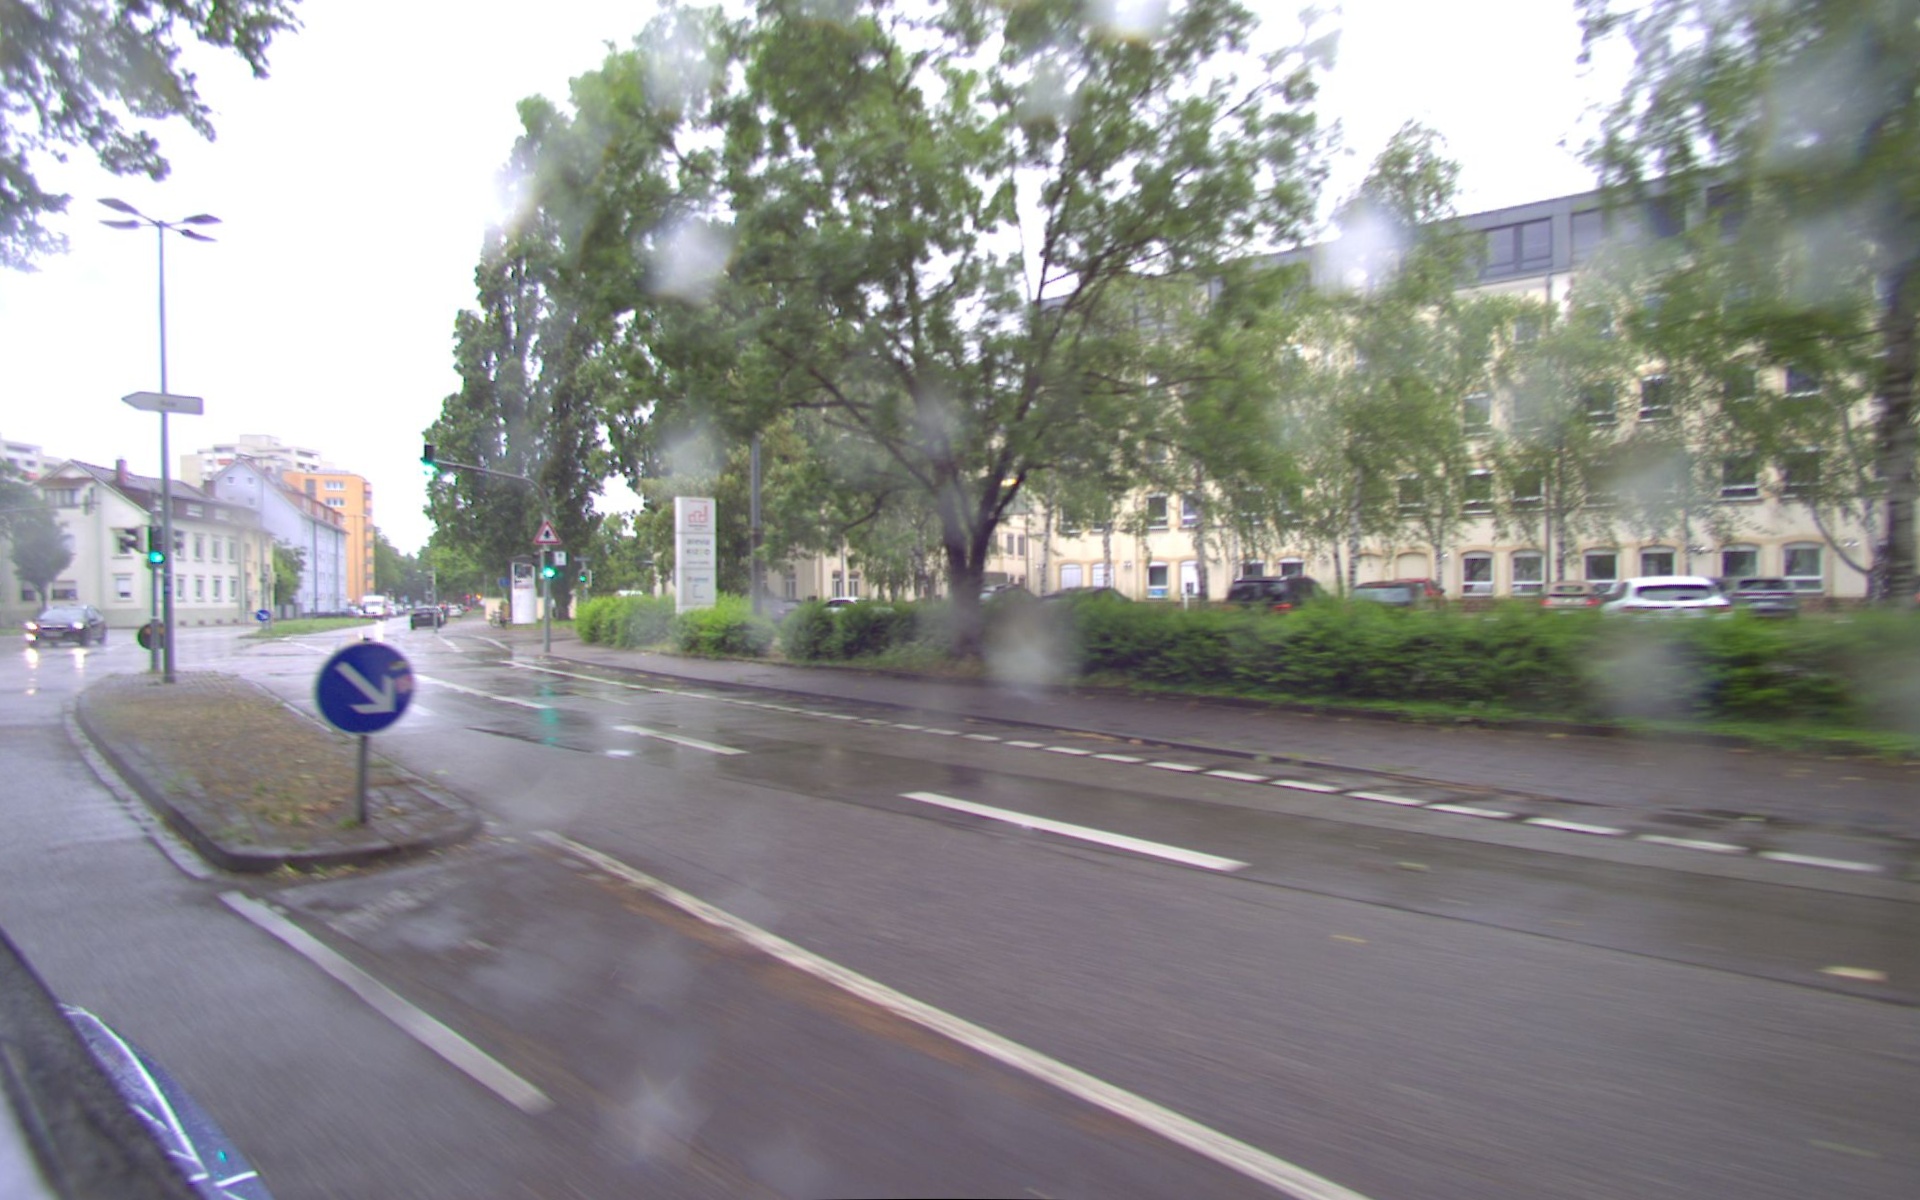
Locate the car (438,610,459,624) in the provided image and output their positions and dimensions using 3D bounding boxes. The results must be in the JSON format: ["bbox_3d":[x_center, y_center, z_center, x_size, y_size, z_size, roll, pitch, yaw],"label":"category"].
[{"bbox_3d":[-57.716,1.880,114.151,1.965,1.431,4.013,-2,0,-25],"label":"car"}]

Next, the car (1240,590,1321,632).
[{"bbox_3d":[12.519,0.429,39.387,1.995,1.530,3.954,-1,-1,34],"label":"car"}]

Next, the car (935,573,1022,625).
[{"bbox_3d":[1.281,-0.107,67.047,2.831,3.218,6.145,-1,0,34],"label":"car"}]

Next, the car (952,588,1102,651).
[{"bbox_3d":[1.912,0.500,28.026,3.939,1.549,1.927,-2,0,-42],"label":"car"}]

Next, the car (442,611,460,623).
[{"bbox_3d":[-67.871,2.278,135.015,1.965,1.431,4.013,-2,0,-25],"label":"car"}]

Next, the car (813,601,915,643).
[{"bbox_3d":[-4.059,0.941,42.647,4.009,1.699,1.764,-1,-1,30],"label":"car"}]

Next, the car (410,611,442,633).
[{"bbox_3d":[-40.819,1.681,77.418,1.965,1.579,4.013,-2,0,-25],"label":"car"}]

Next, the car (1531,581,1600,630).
[{"bbox_3d":[20.672,0.190,34.484,1.777,1.564,3.953,-1,0,35],"label":"car"}]

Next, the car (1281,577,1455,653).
[{"bbox_3d":[8.331,0.257,20.502,3.939,1.348,1.718,-2,0,-42],"label":"car"}]

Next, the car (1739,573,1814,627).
[{"bbox_3d":[25.103,0.002,31.208,1.648,1.565,3.950,-1,0,37],"label":"car"}]

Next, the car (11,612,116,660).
[{"bbox_3d":[-33.966,1.311,38.462,1.801,1.641,4.013,-2,0,-23],"label":"car"}]

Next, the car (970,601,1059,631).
[{"bbox_3d":[2.965,0.875,55.368,4.522,1.511,1.976,-1,0,36],"label":"car"}]

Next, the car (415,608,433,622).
[{"bbox_3d":[-65.293,1.793,123.347,1.780,1.522,4.208,-3,1,-26],"label":"car"}]

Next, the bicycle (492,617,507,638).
[{"bbox_3d":[-25.448,1.502,55.969,0.548,1.085,1.801,-2,0,-30],"label":"bicycle"}]

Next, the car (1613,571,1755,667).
[{"bbox_3d":[13.950,0.312,19.728,1.994,1.651,3.956,-1,0,33],"label":"car"}]

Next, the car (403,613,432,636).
[{"bbox_3d":[-36.015,1.620,67.263,1.523,1.408,4.208,-3,1,-26],"label":"car"}]

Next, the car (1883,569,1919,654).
[{"bbox_3d":[20.834,0.178,21.251,1.706,1.674,3.951,-1,0,36],"label":"car"}]

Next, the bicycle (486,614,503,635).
[{"bbox_3d":[-27.044,1.396,58.798,0.687,1.195,1.629,-2,0,-30],"label":"bicycle"}]

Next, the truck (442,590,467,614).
[{"bbox_3d":[-97.551,0.381,195.503,3.769,4.418,10.821,-2,0,-24],"label":"truck"}]

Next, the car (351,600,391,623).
[{"bbox_3d":[-59.630,1.145,102.588,2.159,2.272,4.897,-2,0,-13],"label":"car"}]

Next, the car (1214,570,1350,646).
[{"bbox_3d":[7.592,0.136,23.654,1.650,1.623,3.947,-1,0,40],"label":"car"}]

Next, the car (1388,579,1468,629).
[{"bbox_3d":[16.876,0.161,36.409,1.995,1.699,3.954,-1,-1,34],"label":"car"}]
